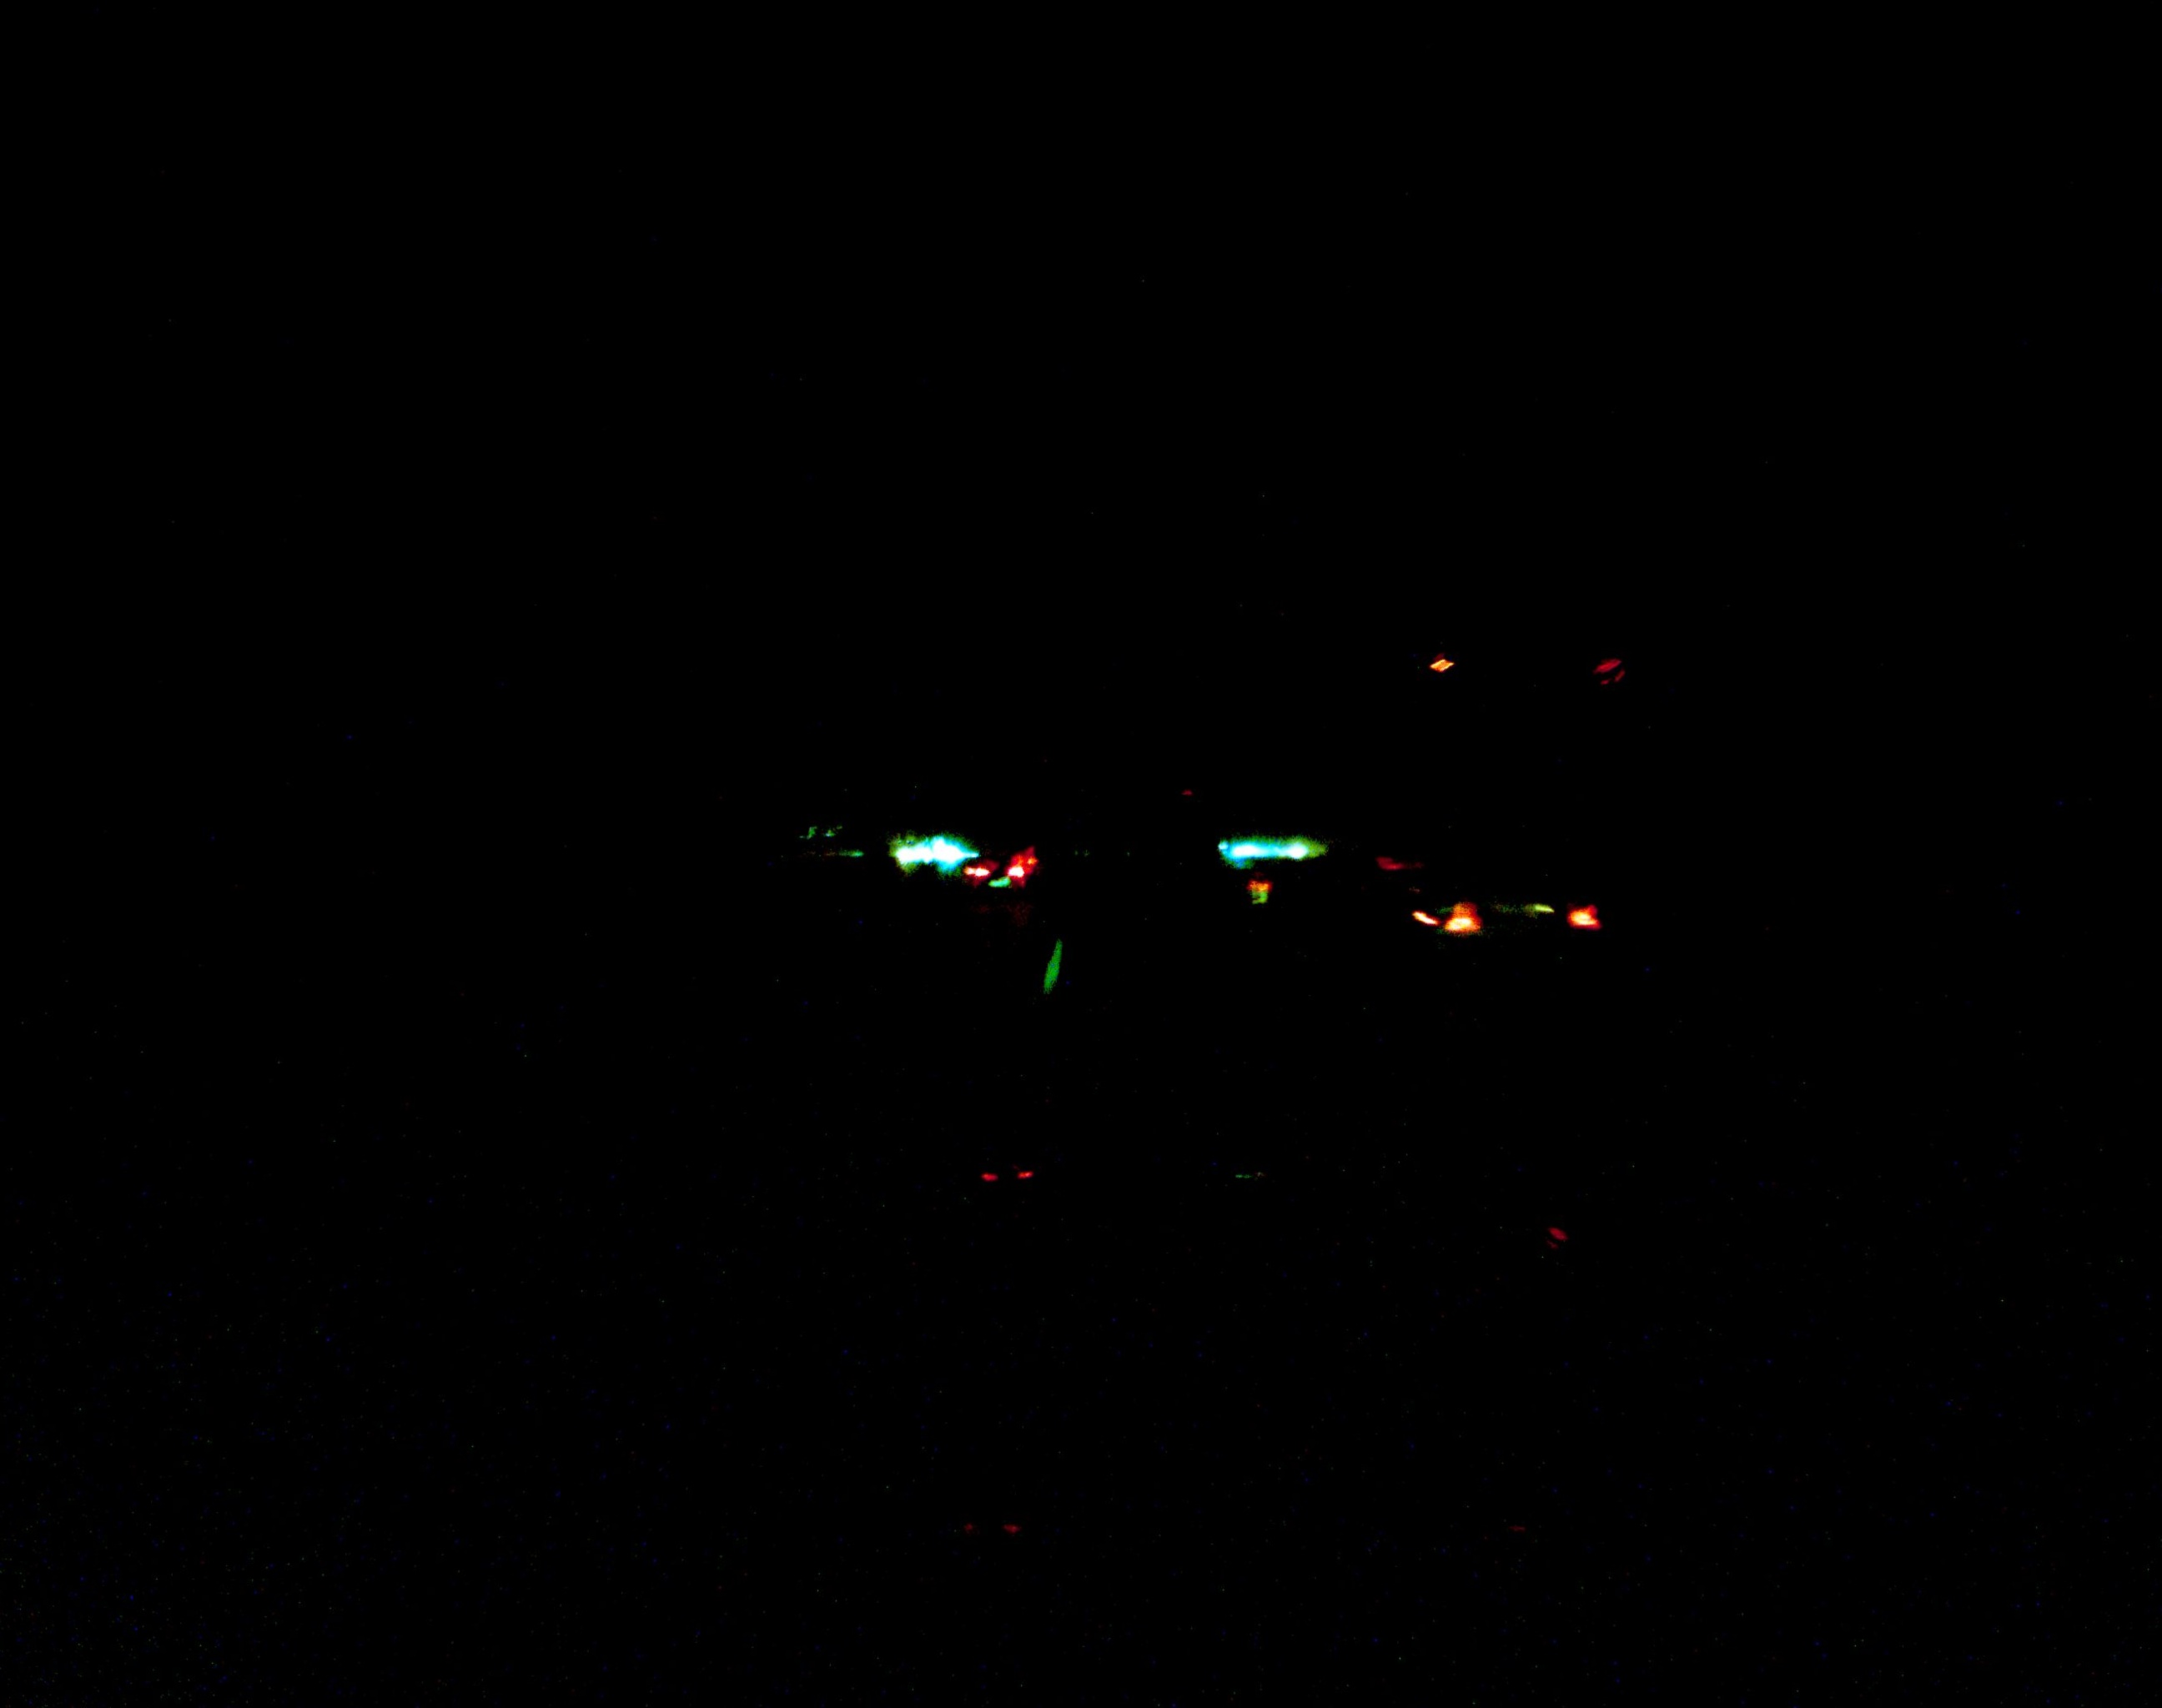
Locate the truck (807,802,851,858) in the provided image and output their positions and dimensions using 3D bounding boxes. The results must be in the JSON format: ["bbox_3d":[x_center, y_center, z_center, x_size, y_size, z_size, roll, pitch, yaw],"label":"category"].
[{"bbox_3d":[-24.363,-2.291,79.129,2.749,5.097,5.870,3,1,-6],"label":"truck"}]

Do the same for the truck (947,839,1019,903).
[{"bbox_3d":[-3.641,0.526,31.449,2.140,2.077,6.598,-2,1,-2],"label":"truck"}]

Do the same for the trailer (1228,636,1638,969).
[{"bbox_3d":[5.736,-0.646,17.142,2.730,4.248,13.367,-1,0,0],"label":"trailer"}]

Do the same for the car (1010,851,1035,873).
[{"bbox_3d":[-5.956,0.758,83.836,1.986,2.013,4.003,3,1,2],"label":"car"}]

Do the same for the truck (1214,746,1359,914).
[{"bbox_3d":[5.690,-0.622,23.476,2.703,4.241,5.290,-1,0,-1],"label":"truck"}]
